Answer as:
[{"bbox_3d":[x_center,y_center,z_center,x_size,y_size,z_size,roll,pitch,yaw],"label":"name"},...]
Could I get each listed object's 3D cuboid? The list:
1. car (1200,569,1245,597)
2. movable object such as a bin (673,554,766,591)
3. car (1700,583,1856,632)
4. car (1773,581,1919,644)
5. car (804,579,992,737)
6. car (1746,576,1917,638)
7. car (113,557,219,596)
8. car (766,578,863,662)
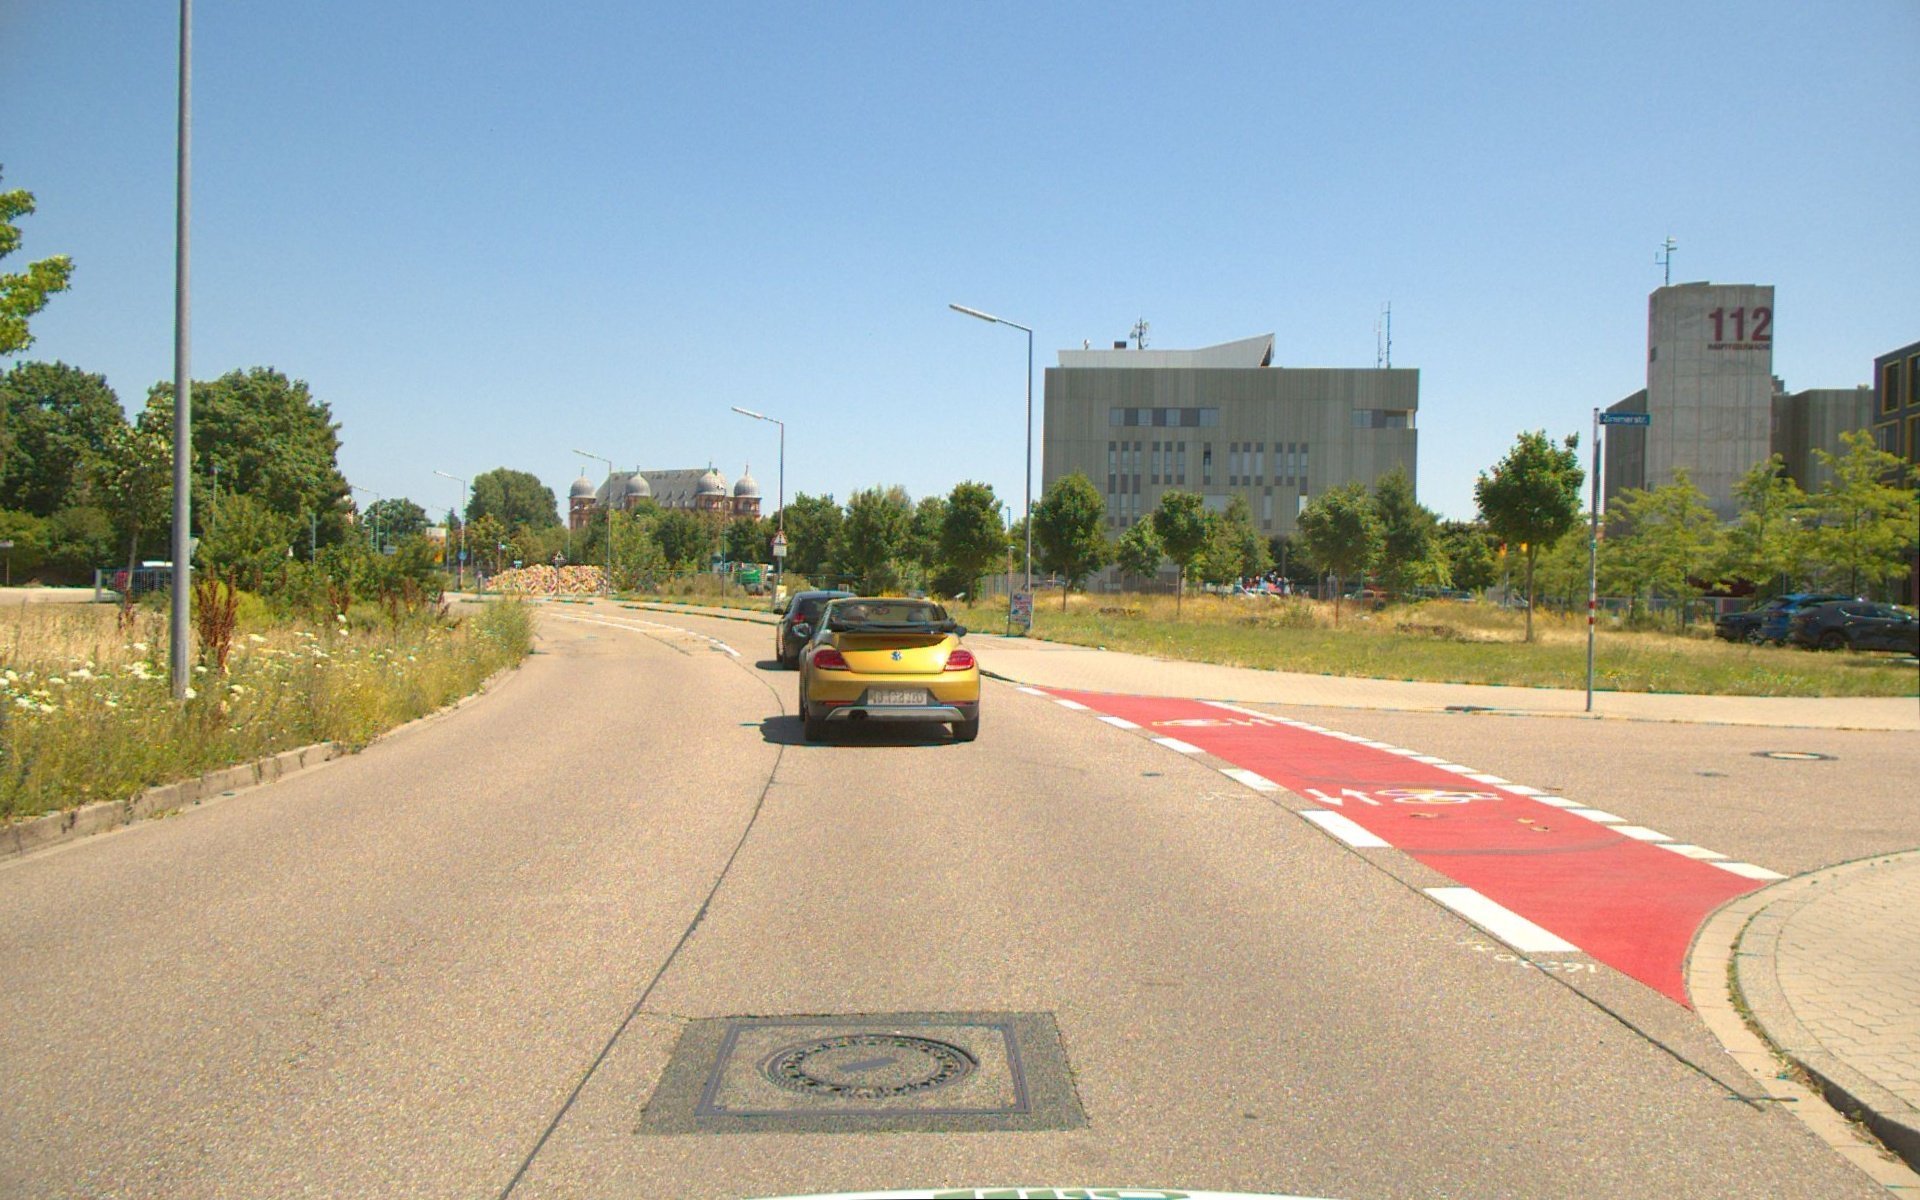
[{"bbox_3d":[22.595,-1.452,142.342,3.760,2.334,1.744,1,0,10],"label":"car"},{"bbox_3d":[-22.885,-2.589,156.891,4.894,3.317,10.348,1,1,-33],"label":"movable object such as a bin"},{"bbox_3d":[26.216,0.235,53.131,4.026,1.470,1.963,1,0,4],"label":"car"},{"bbox_3d":[24.170,0.319,43.702,4.397,1.589,2.034,1,1,9],"label":"car"},{"bbox_3d":[-0.764,0.532,17.673,1.755,1.461,3.809,1,1,-6],"label":"car"},{"bbox_3d":[25.328,0.194,48.217,3.971,1.680,1.956,1,0,9],"label":"car"},{"bbox_3d":[-40.262,-1.186,83.974,4.759,1.872,1.985,0,1,-24],"label":"car"},{"bbox_3d":[-2.718,0.329,31.433,1.692,1.468,3.997,1,1,-4],"label":"car"}]
